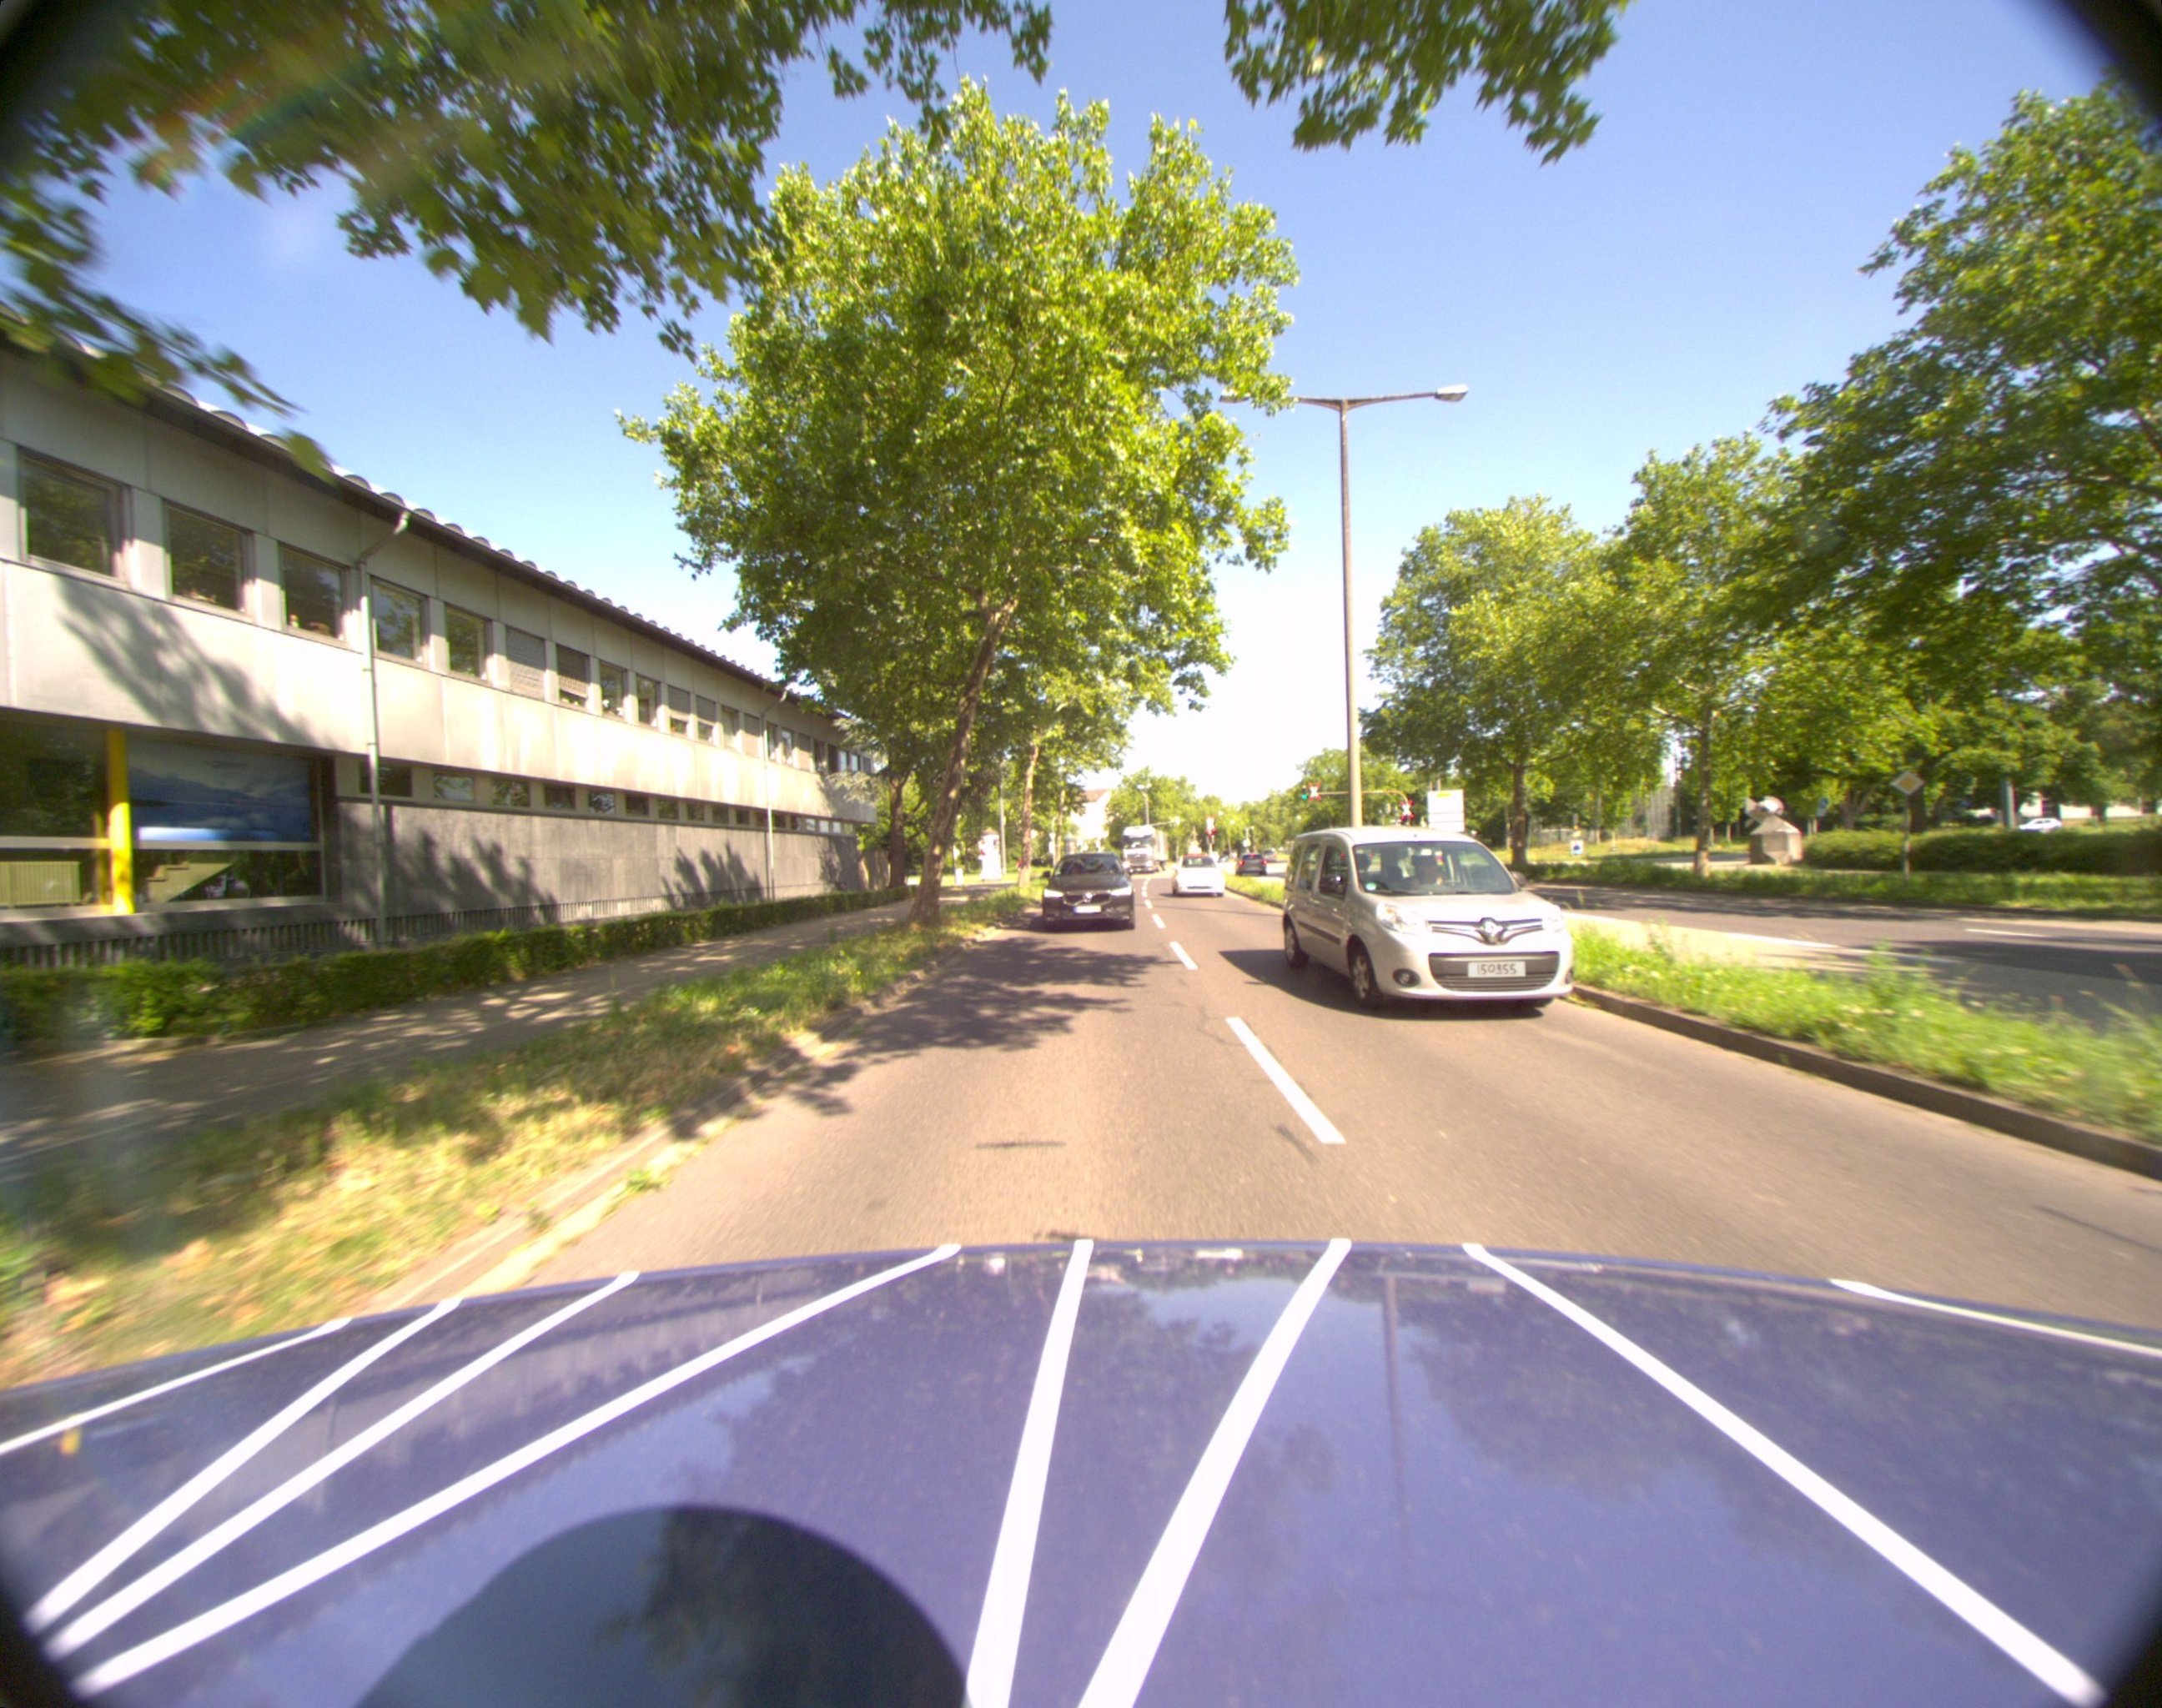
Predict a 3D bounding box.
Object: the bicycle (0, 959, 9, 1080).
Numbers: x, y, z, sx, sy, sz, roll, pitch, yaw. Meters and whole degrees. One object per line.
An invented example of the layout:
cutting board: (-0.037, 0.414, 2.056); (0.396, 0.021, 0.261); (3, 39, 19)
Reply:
bicycle: (-10.970, 1.566, 7.080); (1.673, 1.124, 0.509); (-1, 1, 13)

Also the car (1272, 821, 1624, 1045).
car: (3.538, 0.646, 8.397); (1.877, 1.829, 4.376); (0, 0, 2)

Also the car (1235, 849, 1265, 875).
car: (10.776, 0.459, 48.183); (1.696, 1.499, 4.133); (-2, 0, 14)

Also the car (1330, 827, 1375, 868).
car: (18.750, -0.453, 52.784); (2.063, 2.598, 7.224); (-1, 0, 13)

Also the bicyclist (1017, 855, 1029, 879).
bicyclist: (-4.384, 0.967, 57.515); (0.702, 1.776, 0.810); (-2, 0, 4)

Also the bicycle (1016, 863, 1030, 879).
bicycle: (-4.377, 1.273, 57.503); (0.693, 1.178, 2.126); (-2, 0, 4)

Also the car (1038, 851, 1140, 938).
car: (0.167, 0.816, 17.177); (1.904, 1.605, 4.873); (-3, -1, 0)

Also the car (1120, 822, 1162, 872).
car: (5.248, -0.545, 64.817); (2.901, 3.897, 7.146); (-2, 0, 9)

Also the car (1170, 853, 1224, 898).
car: (4.182, 0.754, 27.864); (1.688, 1.482, 4.378); (-1, -1, 5)

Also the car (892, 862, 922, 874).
car: (-25.807, 2.077, 112.957); (1.995, 1.482, 4.362); (-3, 0, 26)
